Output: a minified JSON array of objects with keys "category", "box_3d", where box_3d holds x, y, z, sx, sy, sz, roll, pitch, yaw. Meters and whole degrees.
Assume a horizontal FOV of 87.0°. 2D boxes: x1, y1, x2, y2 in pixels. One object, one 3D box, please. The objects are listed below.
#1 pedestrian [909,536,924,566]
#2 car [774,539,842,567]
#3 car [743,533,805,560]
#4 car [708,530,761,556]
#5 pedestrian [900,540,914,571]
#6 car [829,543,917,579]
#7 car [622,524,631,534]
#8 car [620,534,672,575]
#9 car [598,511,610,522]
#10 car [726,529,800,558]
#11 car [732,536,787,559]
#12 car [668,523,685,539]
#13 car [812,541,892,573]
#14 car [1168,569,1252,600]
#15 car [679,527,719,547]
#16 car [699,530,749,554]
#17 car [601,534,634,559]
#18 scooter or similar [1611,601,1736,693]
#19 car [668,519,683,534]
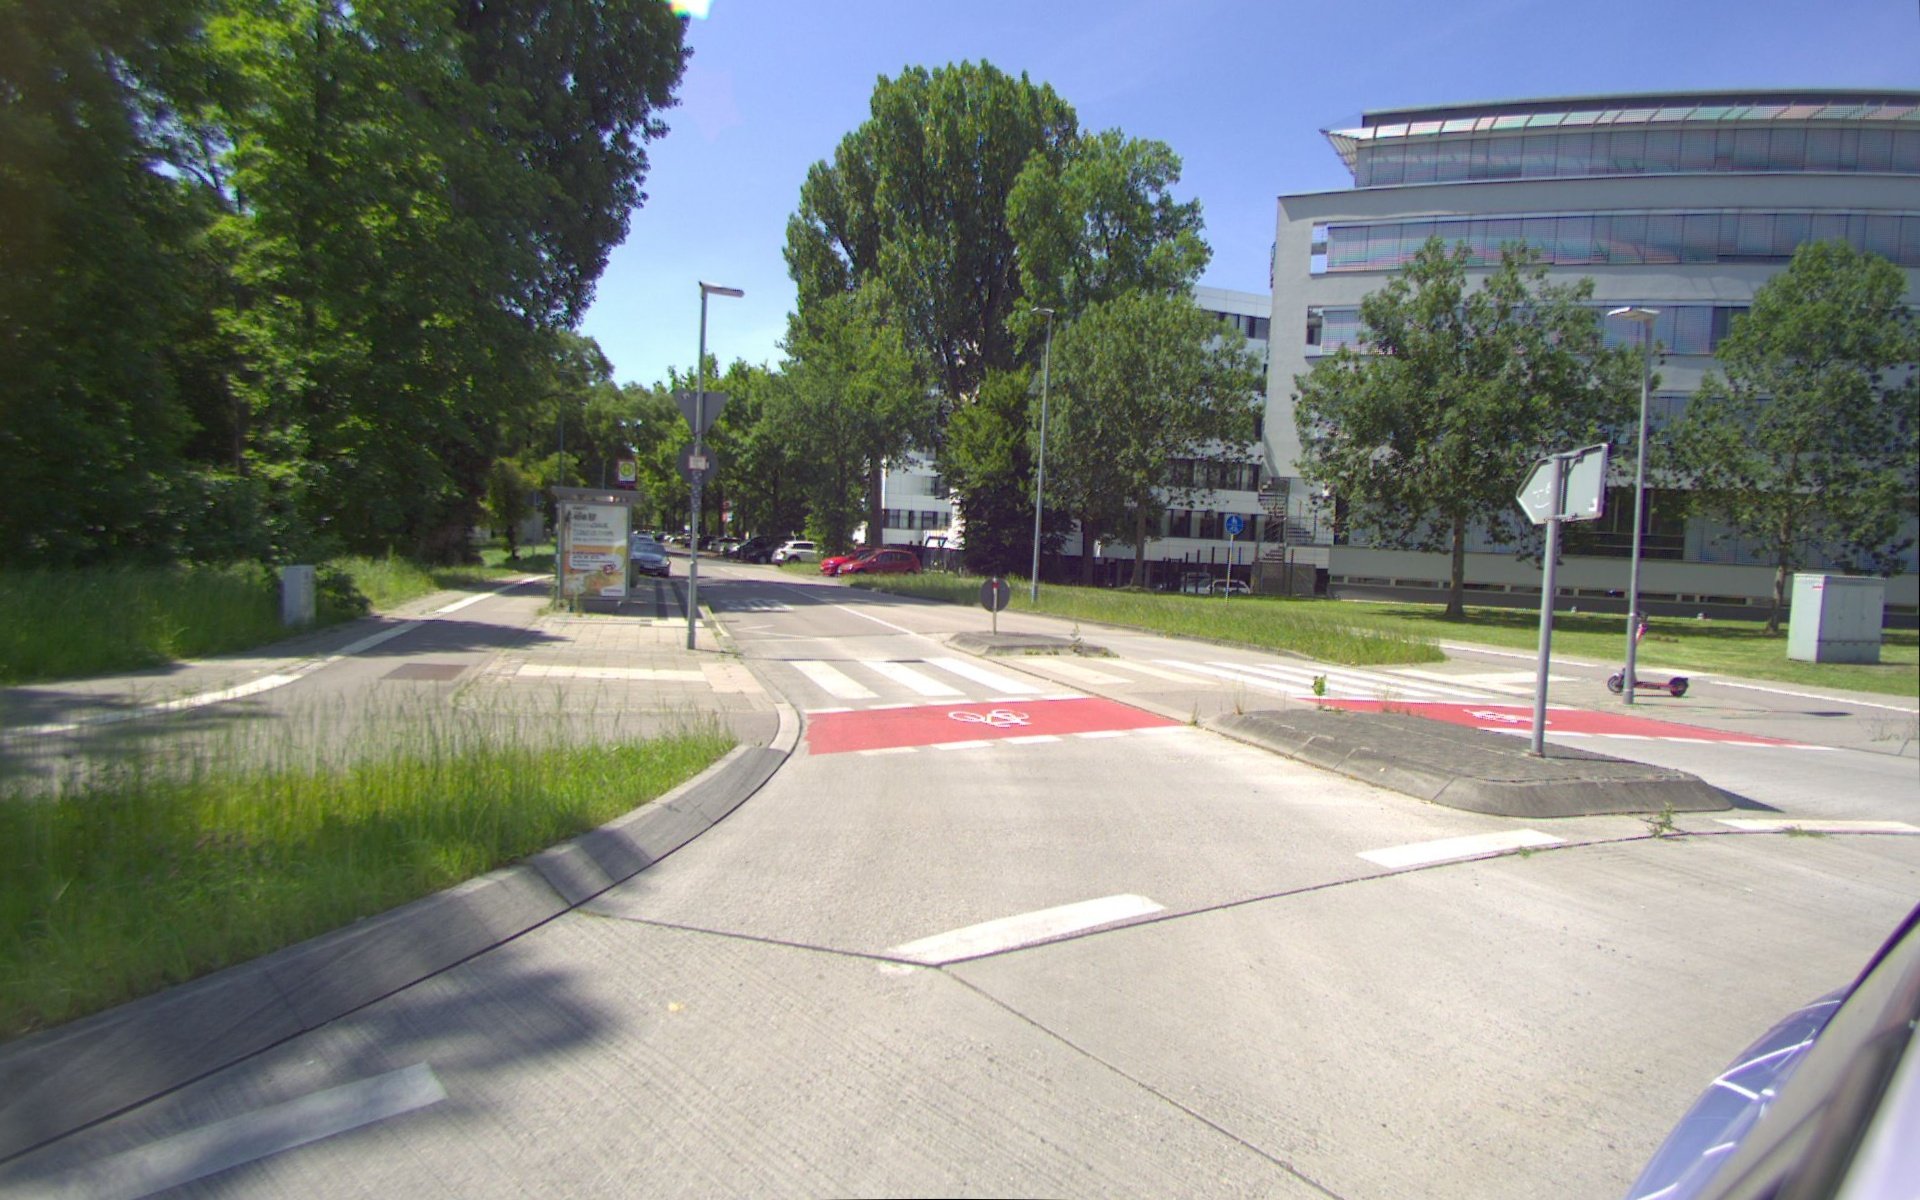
[{"category":"pedestrian","box_3d":[-2.410,-2.709,55.895,0.561,1.627,0.644,1,2,-35]},{"category":"car","box_3d":[-9.144,-2.831,60.770,3.706,1.535,1.817,1,2,-22]},{"category":"car","box_3d":[-12.839,-3.707,69.863,3.916,1.726,1.764,1,2,-21]},{"category":"car","box_3d":[-18.520,-4.671,83.038,3.916,2.038,2.005,1,2,-21]},{"category":"pedestrian","box_3d":[-2.896,-2.442,55.508,0.577,1.636,0.486,1,2,-34]},{"category":"car","box_3d":[-4.005,-1.800,46.638,3.608,1.501,1.873,1,3,-25]},{"category":"car","box_3d":[-71.038,-15.144,215.644,1.801,1.838,3.753,1,3,-17]},{"category":"car","box_3d":[-13.011,-1.902,41.788,1.667,1.504,4.010,4,2,-21]},{"category":"car","box_3d":[-61.550,-14.435,174.836,1.878,1.704,4.010,1,3,-18]},{"category":"car","box_3d":[-14.910,-4.284,76.558,5.203,2.009,1.764,1,2,-22]},{"category":"car","box_3d":[-14.737,-3.858,74.398,3.695,1.588,1.764,1,2,-21]},{"category":"car","box_3d":[-35.605,-8.651,127.009,1.613,1.904,3.806,1,3,-21]},{"category":"car","box_3d":[-5.509,-2.172,51.461,3.608,1.501,1.873,1,3,-25]},{"category":"car","box_3d":[14.140,-0.868,57.279,4.265,1.588,1.858,1,2,-21]},{"category":"car","box_3d":[-26.355,-6.379,102.270,3.716,1.904,1.651,1,2,-22]},{"category":"car","box_3d":[-20.442,-5.041,87.555,3.916,1.895,1.688,1,2,-23]},{"category":"car","box_3d":[-22.199,-3.469,65.519,1.958,1.487,4.010,1,3,-19]},{"category":"scooter or similar","box_3d":[10.115,0.659,14.368,1.373,1.216,0.448,2,2,2]},{"category":"car","box_3d":[-39.051,-10.031,138.848,1.613,1.904,3.806,1,3,-21]}]
